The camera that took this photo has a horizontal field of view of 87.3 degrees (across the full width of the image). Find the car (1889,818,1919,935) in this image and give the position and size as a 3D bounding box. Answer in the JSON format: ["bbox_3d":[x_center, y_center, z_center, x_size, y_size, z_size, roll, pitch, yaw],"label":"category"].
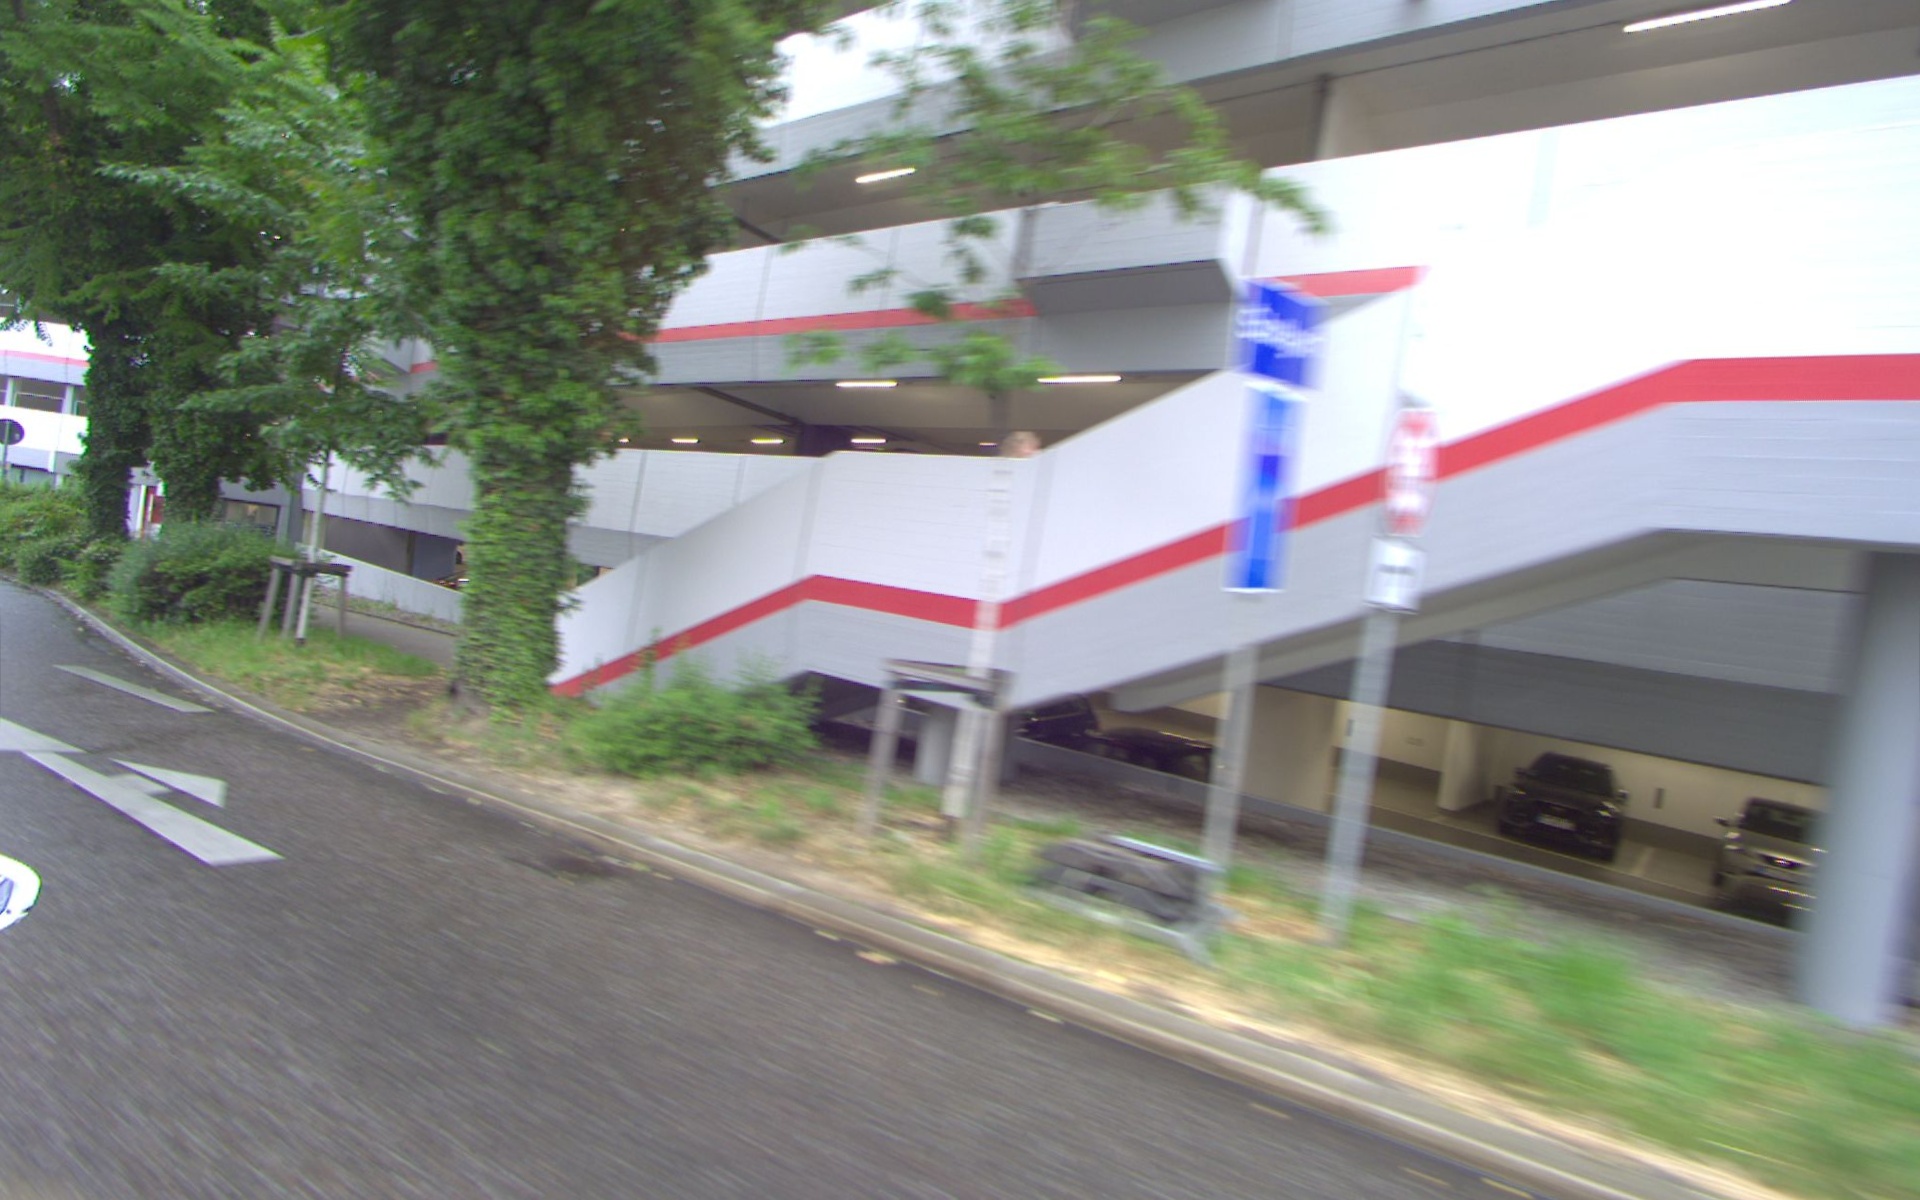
[{"bbox_3d":[15.974,4.534,15.491,1.810,1.559,3.988,11,1,37],"label":"car"}]

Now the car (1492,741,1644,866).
[{"bbox_3d":[11.225,3.606,18.457,1.810,1.559,3.988,11,1,37],"label":"car"}]

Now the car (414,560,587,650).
[{"bbox_3d":[-11.564,0.148,25.428,1.792,1.804,3.448,7,-1,44],"label":"car"}]

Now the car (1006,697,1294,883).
[{"bbox_3d":[2.496,2.181,12.417,1.810,1.643,3.989,7,-1,36],"label":"car"}]

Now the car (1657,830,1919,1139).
[{"bbox_3d":[7.985,3.398,9.645,1.810,1.559,3.931,11,1,37],"label":"car"}]

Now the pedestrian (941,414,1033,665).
[{"bbox_3d":[0.246,-0.534,9.052,0.427,2.180,0.421,7,0,36],"label":"pedestrian"}]

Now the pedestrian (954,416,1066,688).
[{"bbox_3d":[0.421,-0.387,8.384,0.486,2.180,0.514,7,0,36],"label":"pedestrian"}]

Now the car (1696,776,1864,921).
[{"bbox_3d":[13.856,4.100,17.219,1.810,1.559,3.988,11,1,37],"label":"car"}]

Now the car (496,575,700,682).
[{"bbox_3d":[-7.515,0.626,21.080,1.792,1.804,3.448,7,-1,44],"label":"car"}]

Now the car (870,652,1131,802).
[{"bbox_3d":[0.704,1.785,14.508,1.782,1.559,3.734,11,1,37],"label":"car"}]
